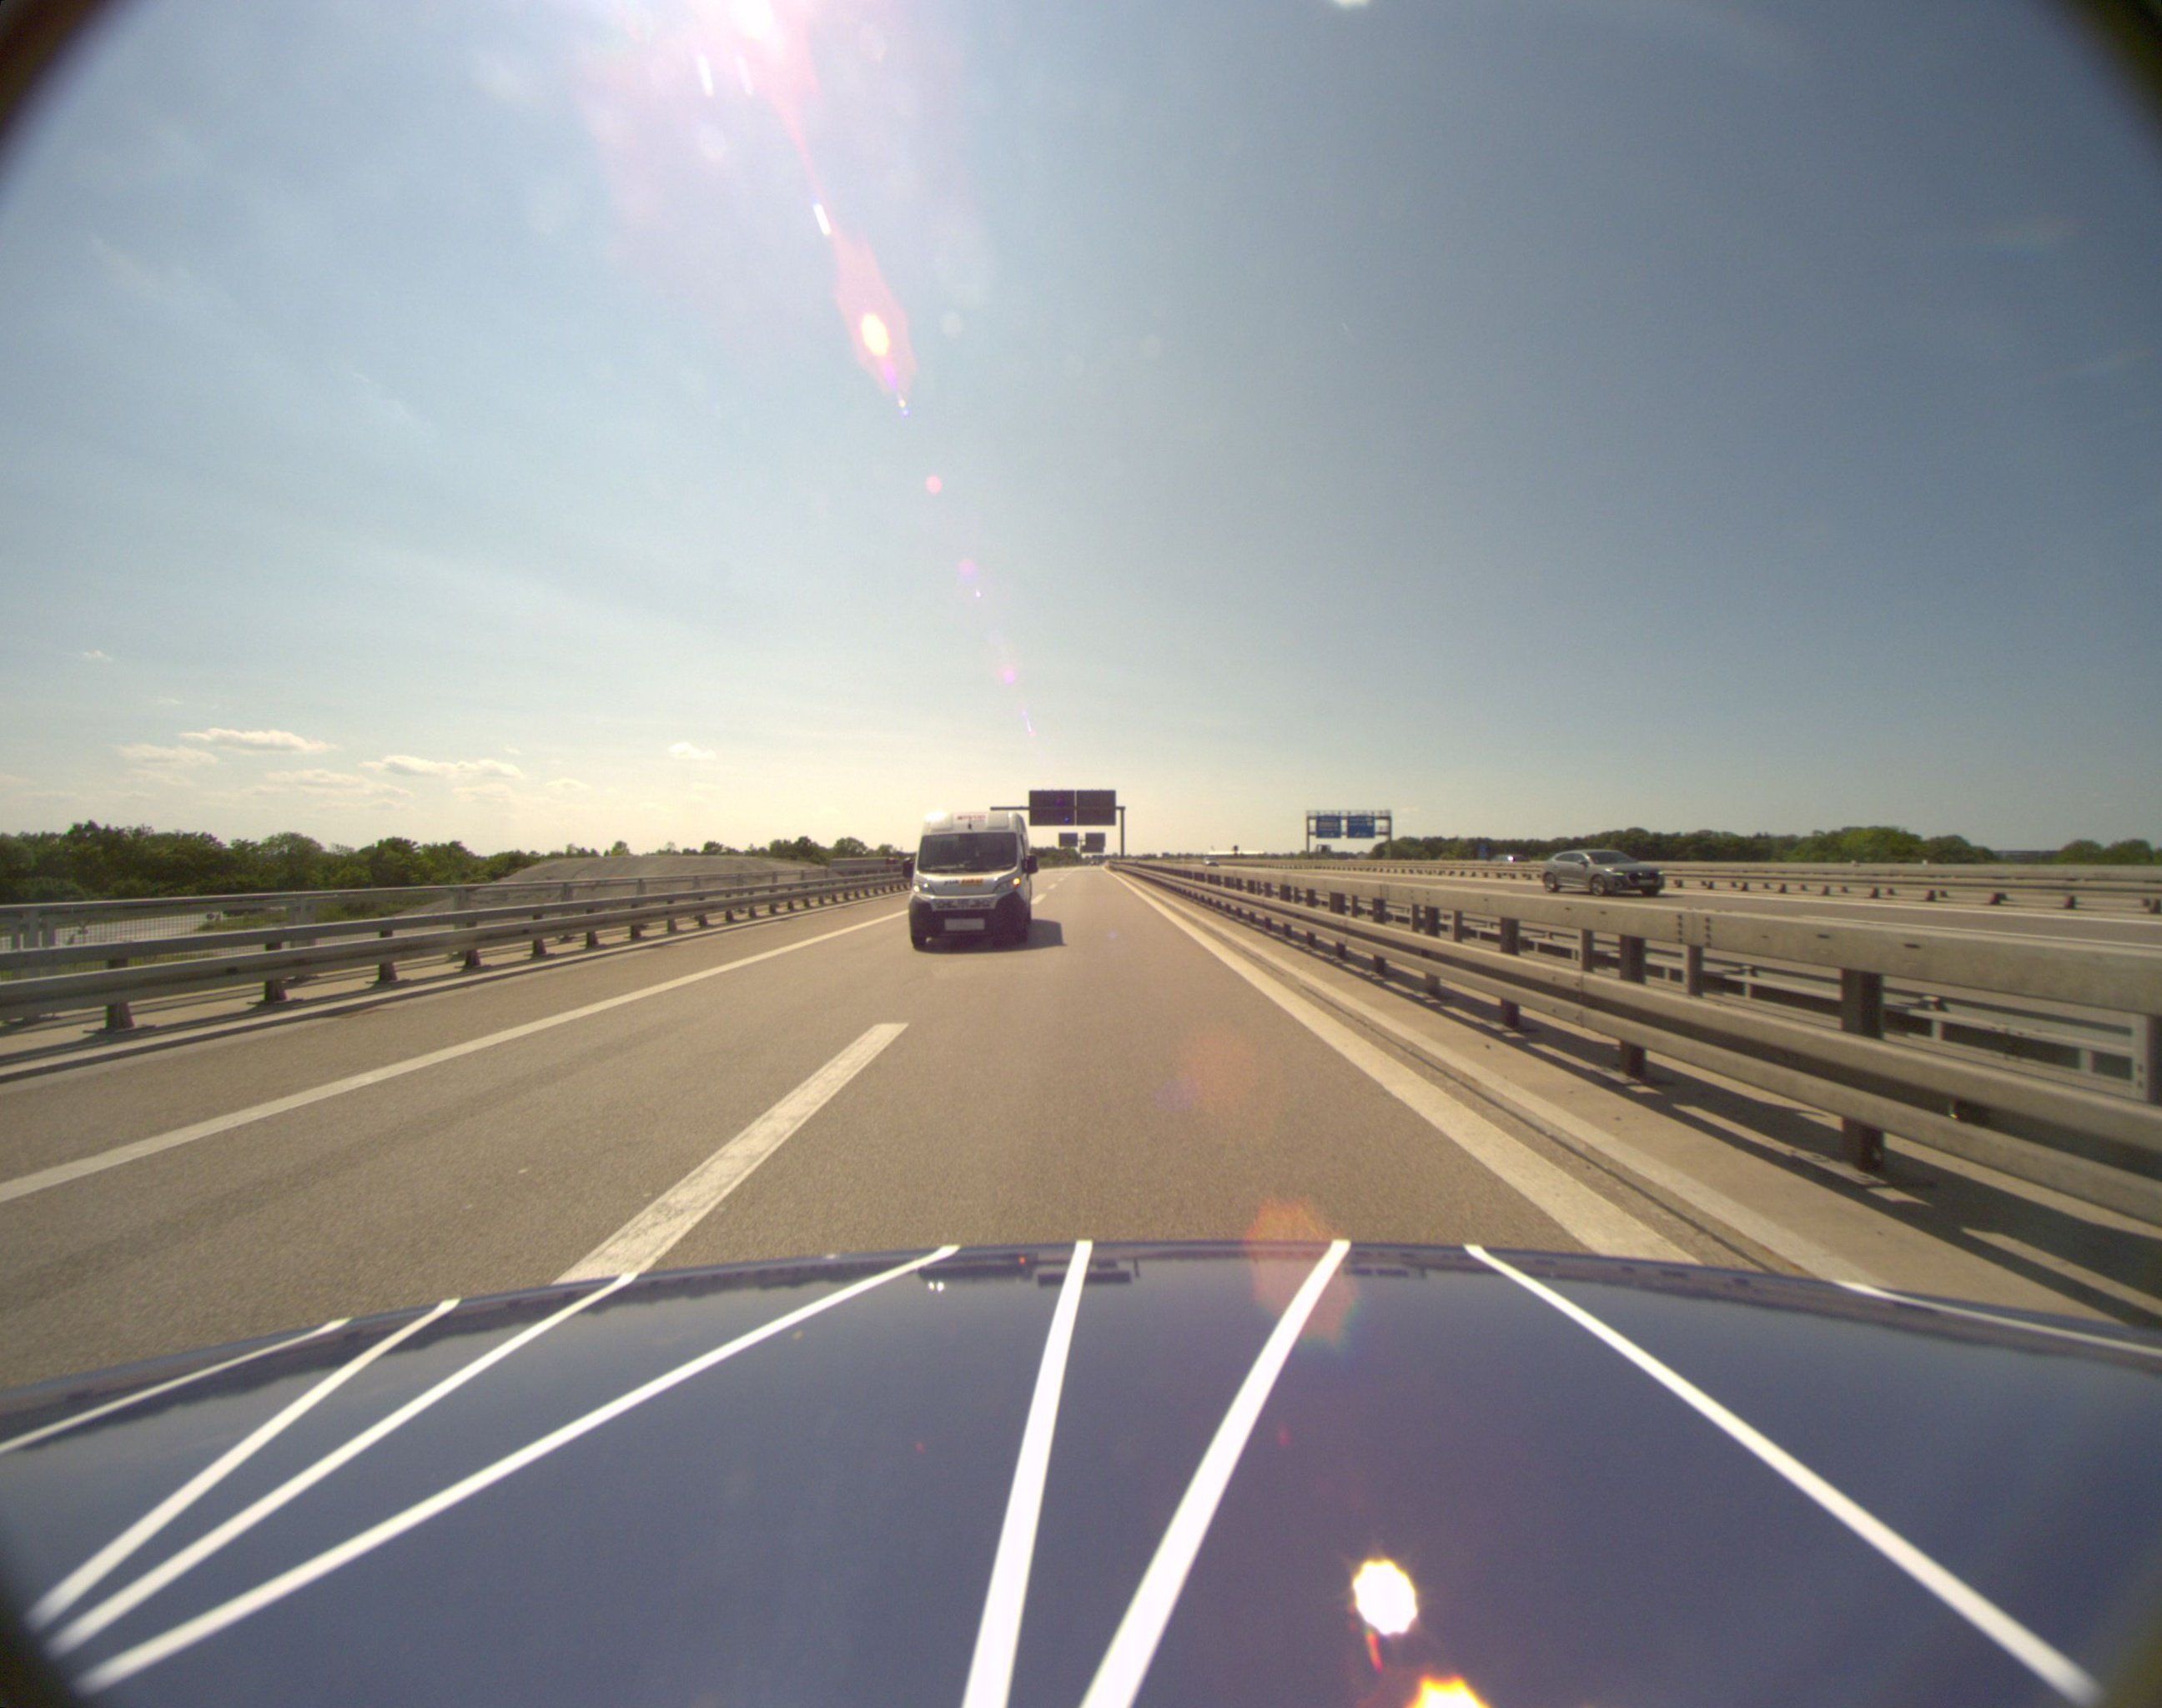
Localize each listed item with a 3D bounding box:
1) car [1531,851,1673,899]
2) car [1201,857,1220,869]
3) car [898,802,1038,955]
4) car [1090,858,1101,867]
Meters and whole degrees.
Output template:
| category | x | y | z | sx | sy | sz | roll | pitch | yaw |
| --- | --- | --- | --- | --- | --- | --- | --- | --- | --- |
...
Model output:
| category | x | y | z | sx | sy | sz | roll | pitch | yaw |
| --- | --- | --- | --- | --- | --- | --- | --- | --- | --- |
| car | 17.865 | 0.651 | 26.362 | 1.842 | 1.508 | 4.575 | -1 | 0 | 1 |
| car | 17.525 | 1.186 | 102.677 | 1.842 | 1.508 | 4.575 | -1 | 0 | 1 |
| car | -2.044 | 0.426 | 15.700 | 2.087 | 2.509 | 6.236 | -1 | 0 | -2 |
| car | 2.996 | 1.776 | 154.546 | 1.998 | 1.744 | 4.000 | -1 | 0 | 2 |
